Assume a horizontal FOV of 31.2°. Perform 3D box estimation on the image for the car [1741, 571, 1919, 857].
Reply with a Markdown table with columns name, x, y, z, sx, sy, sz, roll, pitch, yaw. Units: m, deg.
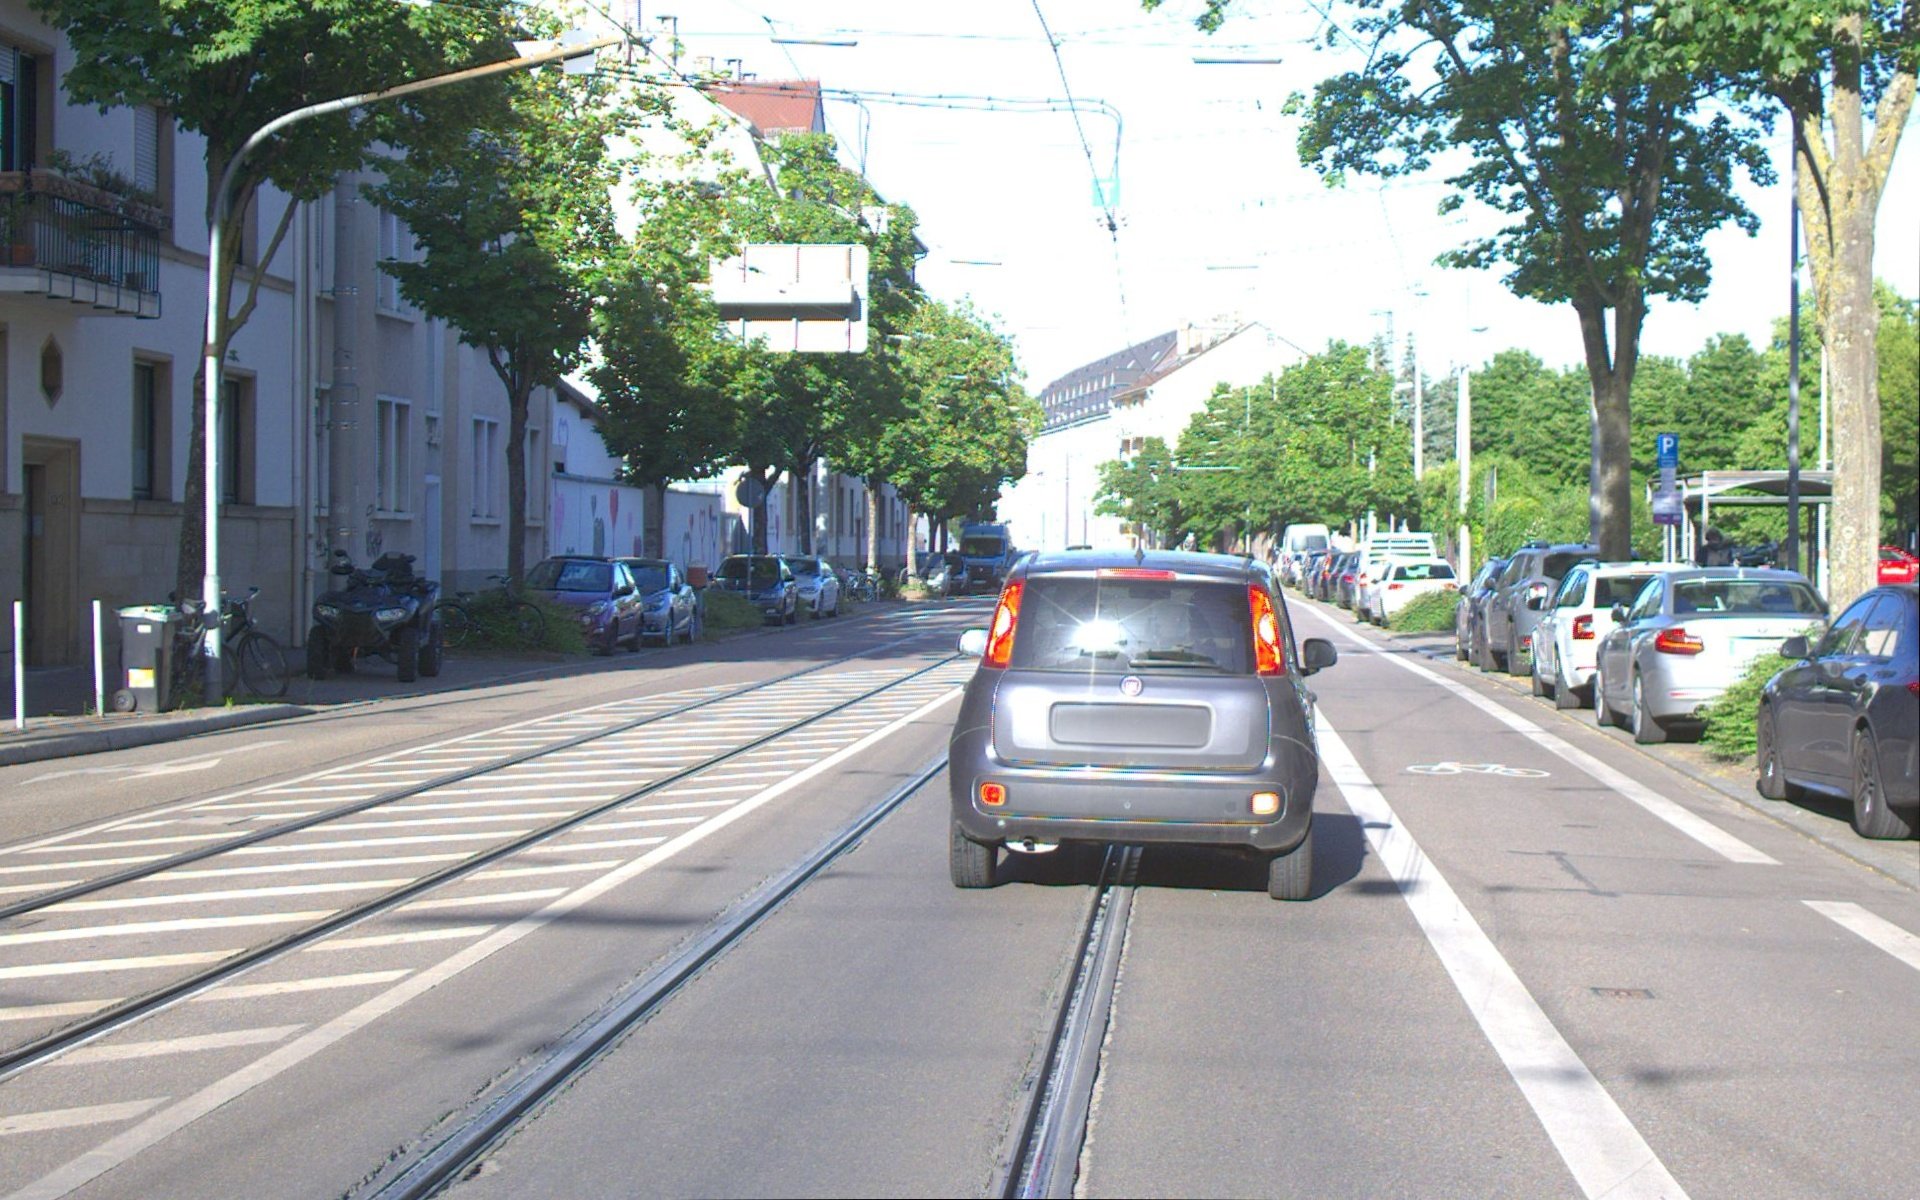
| name | x | y | z | sx | sy | sz | roll | pitch | yaw |
| --- | --- | --- | --- | --- | --- | --- | --- | --- | --- |
| car | 6.013 | 0.587 | 20.487 | 1.839 | 1.485 | 4.642 | 0 | 1 | 2 |

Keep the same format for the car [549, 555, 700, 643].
| name | x | y | z | sx | sy | sz | roll | pitch | yaw |
| --- | --- | --- | --- | --- | --- | --- | --- | --- | --- |
| car | -5.600 | -0.045 | 57.839 | 1.956 | 1.415 | 4.188 | 0 | 1 | 2 |

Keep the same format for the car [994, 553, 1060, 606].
| name | x | y | z | sx | sy | sz | roll | pitch | yaw |
| --- | --- | --- | --- | --- | --- | --- | --- | --- | --- |
| car | 1.974 | -0.617 | 100.307 | 1.781 | 1.487 | 4.188 | 1 | 1 | 2 |

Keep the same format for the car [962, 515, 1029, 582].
| name | x | y | z | sx | sy | sz | roll | pitch | yaw |
| --- | --- | --- | --- | --- | --- | --- | --- | --- | --- |
| car | 1.420 | -2.029 | 135.614 | 2.334 | 2.560 | 5.671 | 0 | 1 | 4 |

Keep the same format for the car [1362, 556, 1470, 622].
| name | x | y | z | sx | sy | sz | roll | pitch | yaw |
| --- | --- | --- | --- | --- | --- | --- | --- | --- | --- |
| car | 9.720 | -0.254 | 73.489 | 1.914 | 1.371 | 4.188 | 0 | 1 | 2 |

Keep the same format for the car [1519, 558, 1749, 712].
| name | x | y | z | sx | sy | sz | roll | pitch | yaw |
| --- | --- | --- | --- | --- | --- | --- | --- | --- | --- |
| car | 6.801 | 0.302 | 35.092 | 1.746 | 1.453 | 4.618 | 0 | 1 | 4 |

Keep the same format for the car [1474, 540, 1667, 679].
| name | x | y | z | sx | sy | sz | roll | pitch | yaw |
| --- | --- | --- | --- | --- | --- | --- | --- | --- | --- |
| car | 7.507 | 0.085 | 42.615 | 1.817 | 1.634 | 4.105 | 0 | 1 | 2 |

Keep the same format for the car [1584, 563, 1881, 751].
| name | x | y | z | sx | sy | sz | roll | pitch | yaw |
| --- | --- | --- | --- | --- | --- | --- | --- | --- | --- |
| car | 6.459 | 0.427 | 29.163 | 1.822 | 1.459 | 4.156 | 0 | 1 | 4 |

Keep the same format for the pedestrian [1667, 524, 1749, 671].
| name | x | y | z | sx | sy | sz | roll | pitch | yaw |
| --- | --- | --- | --- | --- | --- | --- | --- | --- | --- |
| pedestrian | 10.324 | -0.040 | 47.464 | 0.968 | 2.007 | 1.025 | 0 | 1 | 5 |

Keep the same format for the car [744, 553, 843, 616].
| name | x | y | z | sx | sy | sz | roll | pitch | yaw |
| --- | --- | --- | --- | --- | --- | --- | --- | --- | --- |
| car | -3.871 | -0.378 | 80.594 | 1.956 | 1.415 | 4.188 | 0 | 1 | 2 |

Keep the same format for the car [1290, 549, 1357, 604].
| name | x | y | z | sx | sy | sz | roll | pitch | yaw |
| --- | --- | --- | --- | --- | --- | --- | --- | --- | --- |
| car | 10.610 | -0.699 | 100.487 | 1.696 | 1.542 | 4.000 | 0 | 1 | 3 |

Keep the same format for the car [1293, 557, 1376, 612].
| name | x | y | z | sx | sy | sz | roll | pitch | yaw |
| --- | --- | --- | --- | --- | --- | --- | --- | --- | --- |
| car | 10.005 | -0.436 | 92.101 | 1.956 | 1.415 | 4.188 | 0 | 1 | 2 |

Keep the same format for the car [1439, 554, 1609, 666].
| name | x | y | z | sx | sy | sz | roll | pitch | yaw |
| --- | --- | --- | --- | --- | --- | --- | --- | --- | --- |
| car | 7.772 | 0.105 | 47.709 | 1.842 | 1.478 | 4.188 | 0 | 1 | 2 |

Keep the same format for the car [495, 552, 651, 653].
| name | x | y | z | sx | sy | sz | roll | pitch | yaw |
| --- | --- | --- | --- | --- | --- | --- | --- | --- | --- |
| car | -5.883 | 0.007 | 52.605 | 1.797 | 1.481 | 4.000 | 0 | 1 | 2 |

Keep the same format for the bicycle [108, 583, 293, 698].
| name | x | y | z | sx | sy | sz | roll | pitch | yaw |
| --- | --- | --- | --- | --- | --- | --- | --- | --- | --- |
| bicycle | -7.127 | 0.379 | 32.290 | 1.607 | 1.041 | 0.458 | 2 | 0 | -27 |

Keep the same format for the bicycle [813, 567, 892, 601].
| name | x | y | z | sx | sy | sz | roll | pitch | yaw |
| --- | --- | --- | --- | --- | --- | --- | --- | --- | --- |
| bicycle | -3.019 | -0.454 | 96.357 | 2.264 | 0.927 | 0.789 | 1 | 1 | 40 |

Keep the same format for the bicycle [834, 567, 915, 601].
| name | x | y | z | sx | sy | sz | roll | pitch | yaw |
| --- | --- | --- | --- | --- | --- | --- | --- | --- | --- |
| bicycle | -2.421 | -0.451 | 97.126 | 2.323 | 0.927 | 0.789 | 1 | 1 | 40 |

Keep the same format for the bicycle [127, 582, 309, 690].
| name | x | y | z | sx | sy | sz | roll | pitch | yaw |
| --- | --- | --- | --- | --- | --- | --- | --- | --- | --- |
| bicycle | -7.348 | 0.357 | 34.052 | 1.705 | 1.030 | 0.444 | 2 | 0 | -16 |

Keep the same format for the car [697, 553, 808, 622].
| name | x | y | z | sx | sy | sz | roll | pitch | yaw |
| --- | --- | --- | --- | --- | --- | --- | --- | --- | --- |
| car | -4.392 | -0.284 | 73.303 | 1.956 | 1.415 | 4.188 | 0 | 1 | 2 |

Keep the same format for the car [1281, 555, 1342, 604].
| name | x | y | z | sx | sy | sz | roll | pitch | yaw |
| --- | --- | --- | --- | --- | --- | --- | --- | --- | --- |
| car | 10.911 | -0.653 | 106.902 | 1.696 | 1.494 | 4.000 | 0 | 1 | 3 |

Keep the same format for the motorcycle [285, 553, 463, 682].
| name | x | y | z | sx | sy | sz | roll | pitch | yaw |
| --- | --- | --- | --- | --- | --- | --- | --- | --- | --- |
| motorcycle | -6.962 | 0.179 | 41.092 | 1.458 | 1.476 | 3.102 | 0 | 1 | 3 |

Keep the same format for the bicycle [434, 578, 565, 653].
| name | x | y | z | sx | sy | sz | roll | pitch | yaw |
| --- | --- | --- | --- | --- | --- | --- | --- | --- | --- |
| bicycle | -6.515 | 0.218 | 48.673 | 1.744 | 1.020 | 0.609 | 2 | 0 | -16 |

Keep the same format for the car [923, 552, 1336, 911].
| name | x | y | z | sx | sy | sz | roll | pitch | yaw |
| --- | --- | --- | --- | --- | --- | --- | --- | --- | --- |
| car | 0.856 | 0.541 | 16.526 | 1.731 | 1.495 | 3.999 | 1 | 0 | 4 |

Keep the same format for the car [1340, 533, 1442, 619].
| name | x | y | z | sx | sy | sz | roll | pitch | yaw |
| --- | --- | --- | --- | --- | --- | --- | --- | --- | --- |
| car | 9.796 | -0.563 | 78.405 | 1.956 | 1.898 | 4.188 | 0 | 1 | 2 |
